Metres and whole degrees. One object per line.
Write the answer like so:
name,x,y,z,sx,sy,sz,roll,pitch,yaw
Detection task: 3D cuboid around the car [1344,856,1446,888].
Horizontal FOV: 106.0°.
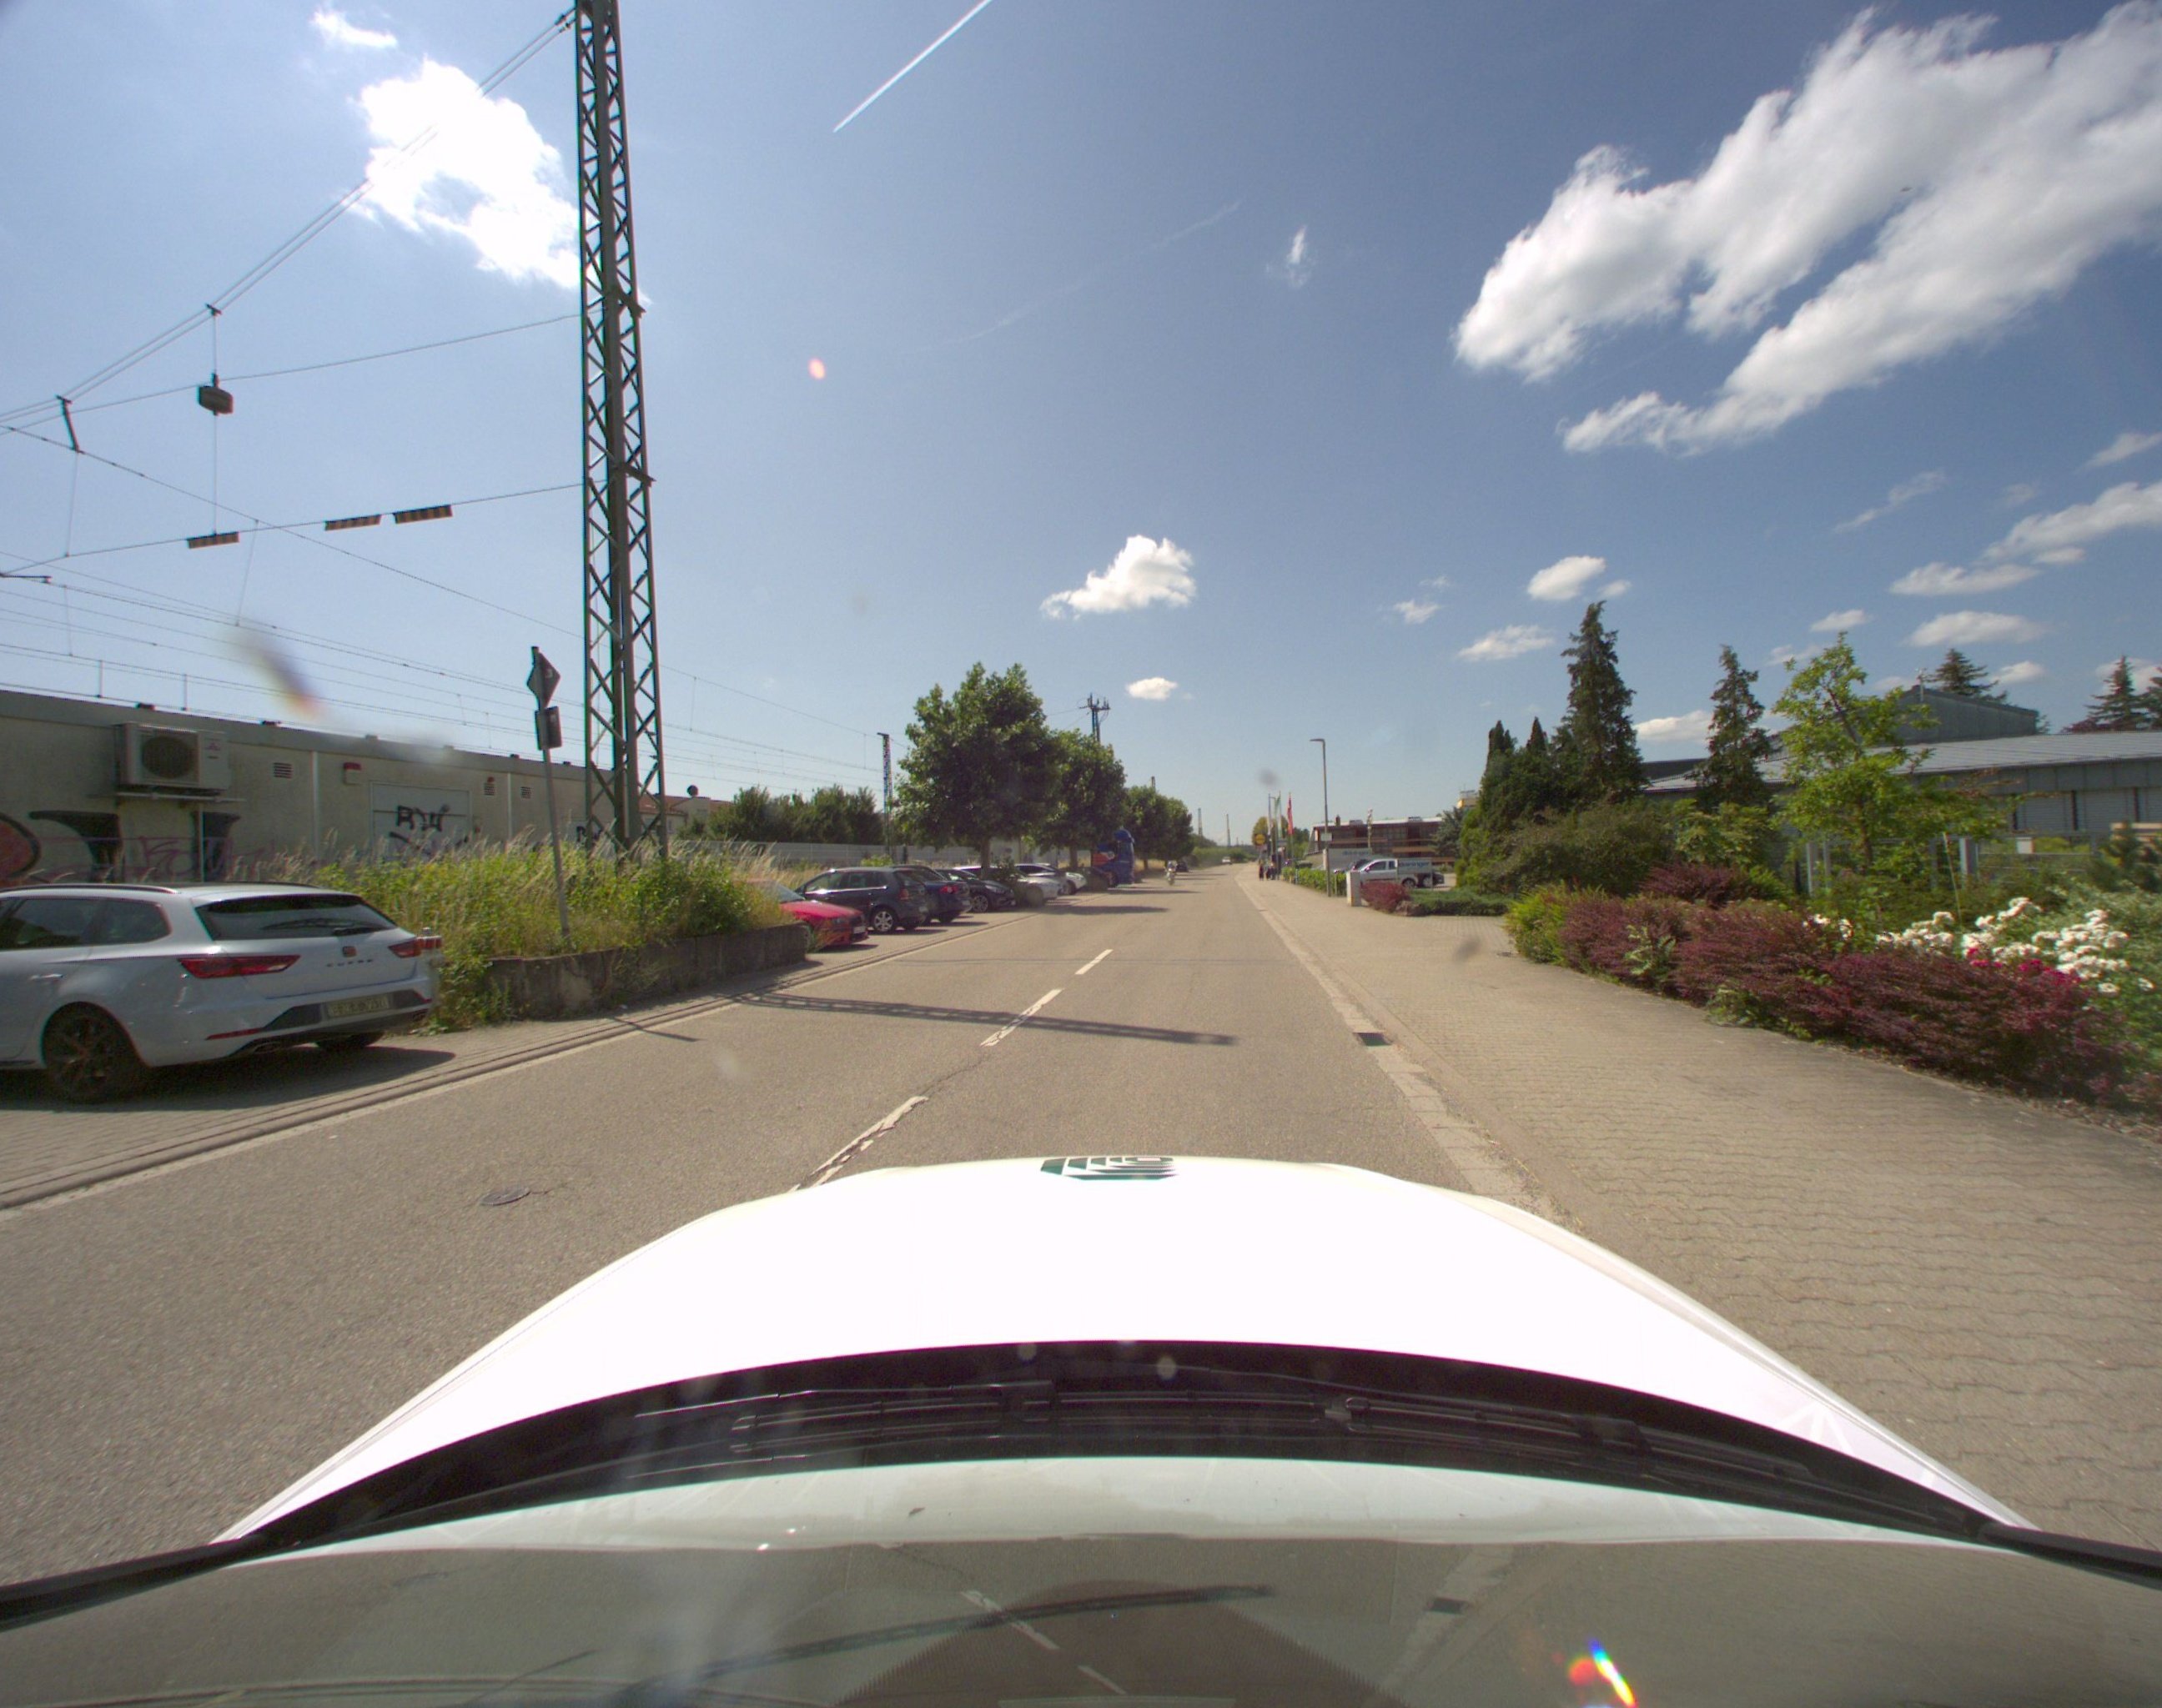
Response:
car,15.738,0.899,41.030,4.451,1.440,1.818,-2,-1,6

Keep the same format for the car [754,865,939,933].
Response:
car,-5.282,0.999,18.541,3.645,1.448,1.688,-1,-1,8

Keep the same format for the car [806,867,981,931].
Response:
car,-4.769,1.140,20.889,3.917,1.450,1.793,-2,-1,14

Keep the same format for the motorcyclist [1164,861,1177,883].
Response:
motorcyclist,6.195,1.233,56.193,0.771,1.509,0.924,-2,-1,10

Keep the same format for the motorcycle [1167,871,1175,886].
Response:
motorcycle,6.197,1.677,56.056,0.460,1.051,1.960,-2,-1,9

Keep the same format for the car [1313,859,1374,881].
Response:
car,18.336,1.113,57.005,3.821,1.455,1.823,-2,-1,10

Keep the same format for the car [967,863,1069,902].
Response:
car,-2.636,1.198,34.737,3.965,1.548,2.004,-2,-1,8

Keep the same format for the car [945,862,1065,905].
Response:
car,-2.950,1.157,32.074,4.312,1.533,1.931,-1,0,9

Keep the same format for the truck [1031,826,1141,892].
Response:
truck,0.372,0.341,52.430,6.577,3.823,2.670,-3,-1,8

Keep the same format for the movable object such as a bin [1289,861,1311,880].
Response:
movable object such as a bin,16.876,1.283,62.732,1.270,1.458,1.039,0,-1,-28

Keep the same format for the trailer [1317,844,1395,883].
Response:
trailer,15.932,0.552,47.416,3.963,2.014,2.005,-3,-1,9

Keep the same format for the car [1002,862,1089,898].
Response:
car,-1.692,1.266,39.892,3.950,1.618,1.854,-2,-1,6

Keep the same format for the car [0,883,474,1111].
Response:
car,-7.310,0.977,6.301,4.051,1.402,1.790,-1,-1,7

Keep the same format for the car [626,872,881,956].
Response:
car,-5.991,1.090,15.074,4.048,1.368,1.679,-1,0,10

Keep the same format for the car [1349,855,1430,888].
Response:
car,14.604,0.828,38.687,3.330,1.401,1.775,-3,-1,12

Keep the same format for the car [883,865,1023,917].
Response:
car,-4.115,1.194,26.425,4.048,1.472,1.792,-3,-1,10

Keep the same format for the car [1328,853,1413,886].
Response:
car,15.795,0.869,44.588,4.015,1.575,1.716,-3,-3,4

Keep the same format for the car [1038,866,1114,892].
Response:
car,-0.267,1.461,48.113,4.185,1.395,1.876,-2,-1,7

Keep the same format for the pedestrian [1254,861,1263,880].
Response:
pedestrian,13.804,1.291,63.418,0.562,1.405,0.585,-3,-3,9

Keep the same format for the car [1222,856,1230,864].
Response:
car,35.102,1.529,197.306,1.827,1.858,4.497,-2,-1,10

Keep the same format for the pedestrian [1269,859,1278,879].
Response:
pedestrian,14.939,1.187,63.149,0.532,1.540,0.512,-3,-3,9

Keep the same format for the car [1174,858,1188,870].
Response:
car,13.544,1.352,110.117,1.731,1.596,3.589,-2,0,10

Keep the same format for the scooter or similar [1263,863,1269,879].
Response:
scooter or similar,14.387,1.346,63.391,0.332,1.198,0.399,-3,-3,10

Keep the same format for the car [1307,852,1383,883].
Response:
car,16.329,0.869,50.488,4.188,1.634,1.805,-3,-3,8
